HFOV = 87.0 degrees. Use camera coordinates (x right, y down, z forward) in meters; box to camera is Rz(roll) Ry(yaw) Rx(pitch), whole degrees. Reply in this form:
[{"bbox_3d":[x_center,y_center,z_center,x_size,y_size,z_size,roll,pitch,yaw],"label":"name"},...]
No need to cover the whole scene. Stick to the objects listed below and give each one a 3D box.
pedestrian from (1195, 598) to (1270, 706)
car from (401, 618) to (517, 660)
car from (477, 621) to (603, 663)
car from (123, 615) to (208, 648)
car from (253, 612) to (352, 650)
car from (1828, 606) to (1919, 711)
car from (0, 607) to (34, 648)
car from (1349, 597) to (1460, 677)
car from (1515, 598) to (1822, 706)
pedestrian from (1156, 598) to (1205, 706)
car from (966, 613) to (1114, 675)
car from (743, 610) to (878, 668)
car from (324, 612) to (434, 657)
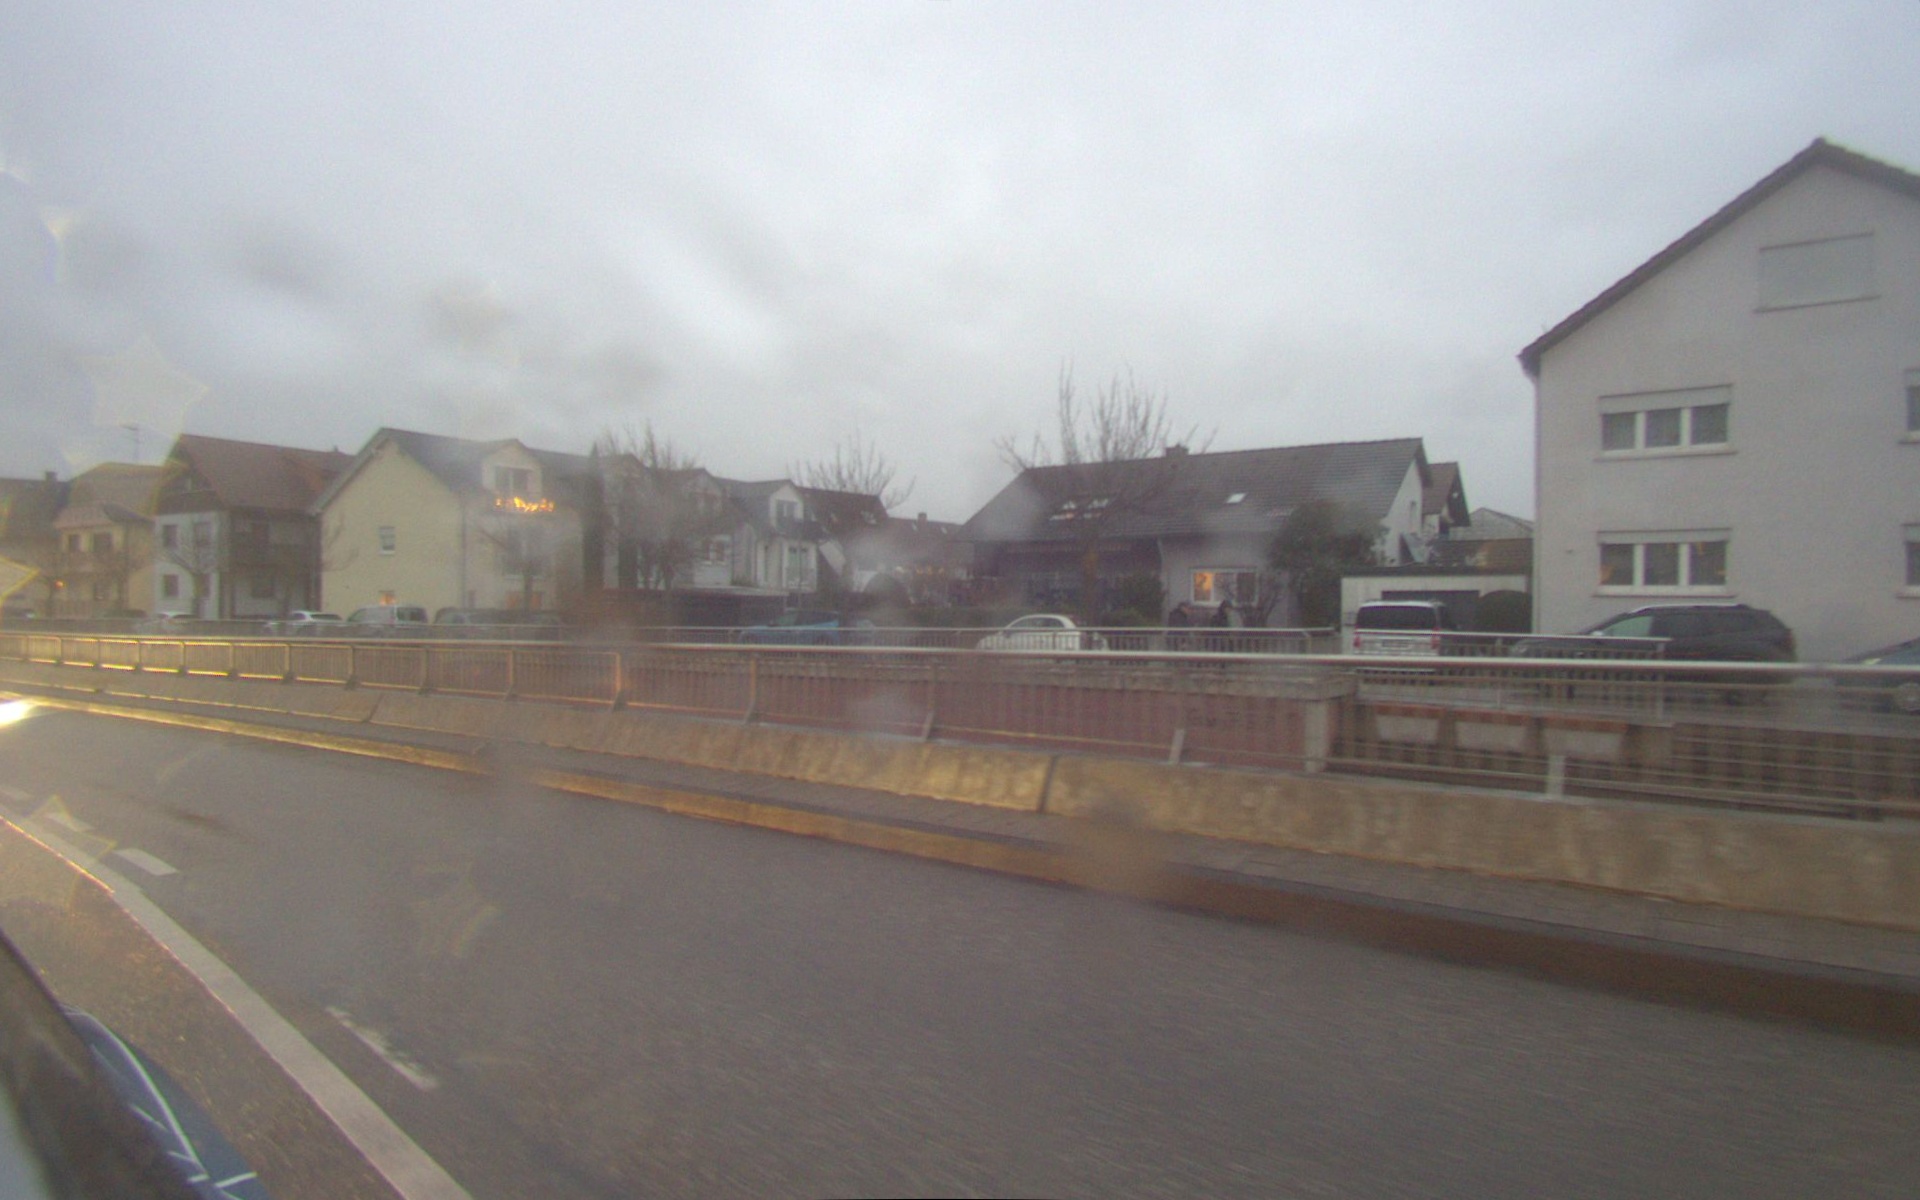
[{"bbox_3d":[4.770,0.879,17.704,0.971,1.798,0.920,-1,0,36],"label":"pedestrian"},{"bbox_3d":[-19.481,1.515,39.337,4.483,1.584,1.861,-1,-3,30],"label":"car"},{"bbox_3d":[-15.255,1.515,36.717,4.483,1.444,1.861,-1,-3,30],"label":"car"},{"bbox_3d":[-39.234,1.518,49.983,4.011,1.535,1.758,0,0,27],"label":"car"},{"bbox_3d":[-28.997,1.391,44.637,4.205,1.610,1.862,-1,-3,28],"label":"car"},{"bbox_3d":[15.903,0.866,15.194,4.211,1.574,1.892,-1,-1,38],"label":"car"},{"bbox_3d":[-44.698,1.252,46.487,3.836,1.817,1.791,0,0,23],"label":"car"},{"bbox_3d":[10.567,0.861,23.908,1.858,1.707,3.956,-1,-2,32],"label":"car"},{"bbox_3d":[12.305,0.864,17.869,4.207,1.695,1.894,-1,-1,35],"label":"car"},{"bbox_3d":[3.604,0.831,16.500,0.540,1.710,0.657,-1,0,36],"label":"pedestrian"},{"bbox_3d":[1.978,1.059,25.412,3.451,1.438,1.470,0,0,35],"label":"car"},{"bbox_3d":[-4.416,1.120,29.807,3.806,1.592,1.554,0,-2,30],"label":"car"},{"bbox_3d":[-24.015,1.433,41.807,4.480,1.792,1.862,-1,-3,28],"label":"car"}]
